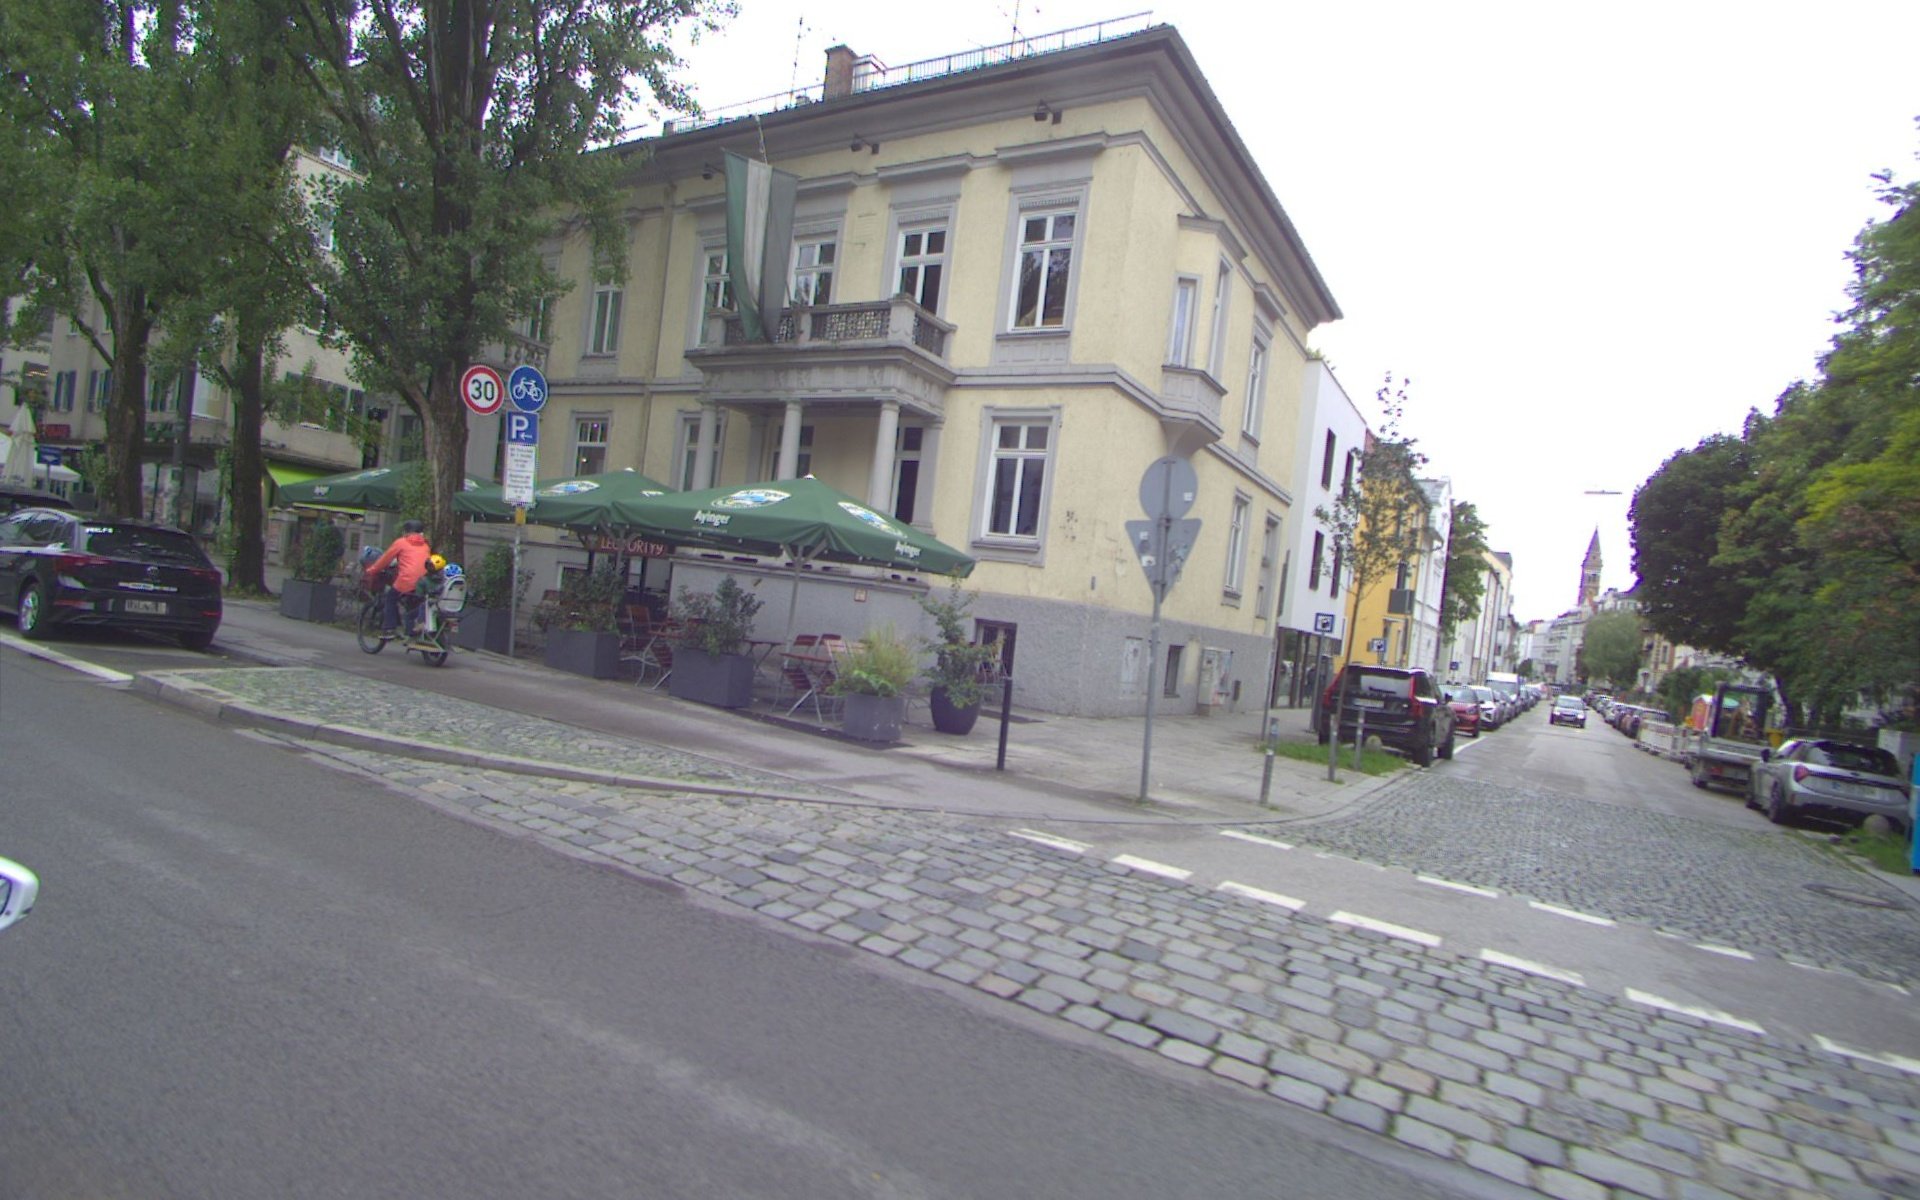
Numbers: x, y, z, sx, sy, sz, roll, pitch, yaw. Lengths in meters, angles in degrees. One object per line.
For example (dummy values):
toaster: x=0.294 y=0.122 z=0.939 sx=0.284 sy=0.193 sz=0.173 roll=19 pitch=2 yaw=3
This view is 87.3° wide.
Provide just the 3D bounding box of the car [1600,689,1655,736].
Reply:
car: x=34.528 y=5.842 z=52.120 sx=1.967 sy=2.036 sz=3.996 roll=6 pitch=-2 yaw=31

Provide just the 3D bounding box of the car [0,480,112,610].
car: x=-14.746 y=-0.983 z=14.930 sx=4.372 sy=1.656 sz=1.807 roll=7 pitch=-1 yaw=30

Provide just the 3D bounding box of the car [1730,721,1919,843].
car: x=14.497 y=2.933 z=16.834 sx=1.874 sy=1.537 sz=3.997 roll=6 pitch=-3 yaw=30

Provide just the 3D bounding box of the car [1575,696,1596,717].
car: x=86.831 y=14.759 z=139.613 sx=1.966 sy=2.634 sz=3.998 roll=7 pitch=-2 yaw=29

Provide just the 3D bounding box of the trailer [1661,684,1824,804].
trailer: x=16.966 y=3.044 z=22.105 sx=1.874 sy=2.052 sz=5.250 roll=7 pitch=-1 yaw=30

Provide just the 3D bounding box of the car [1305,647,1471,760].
car: x=8.409 y=2.034 z=19.515 sx=1.940 sy=1.721 sz=4.421 roll=6 pitch=-3 yaw=35

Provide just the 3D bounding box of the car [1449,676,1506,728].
car: x=19.961 y=3.918 z=38.782 sx=1.672 sy=1.706 sz=3.997 roll=7 pitch=-2 yaw=28

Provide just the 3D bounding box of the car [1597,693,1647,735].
car: x=37.369 y=6.435 z=56.889 sx=1.967 sy=2.036 sz=3.996 roll=6 pitch=-2 yaw=31

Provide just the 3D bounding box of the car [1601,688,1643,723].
car: x=44.989 y=7.224 z=68.430 sx=1.967 sy=2.036 sz=3.996 roll=6 pitch=-2 yaw=31

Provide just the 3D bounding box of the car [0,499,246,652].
car: x=-10.624 y=-0.365 z=12.138 sx=3.884 sy=1.433 sz=1.697 roll=7 pitch=-1 yaw=30

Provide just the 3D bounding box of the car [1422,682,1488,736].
car: x=16.082 y=3.497 z=32.564 sx=1.672 sy=1.416 sz=3.997 roll=7 pitch=-2 yaw=28

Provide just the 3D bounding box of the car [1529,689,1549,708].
car: x=70.294 y=11.953 z=122.156 sx=1.672 sy=2.077 sz=3.997 roll=7 pitch=-2 yaw=28

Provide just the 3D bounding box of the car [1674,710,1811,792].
car: x=20.494 y=3.888 z=26.537 sx=1.965 sy=1.703 sz=3.999 roll=7 pitch=-2 yaw=27

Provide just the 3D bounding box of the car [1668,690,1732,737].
car: x=37.299 y=5.744 z=50.800 sx=1.967 sy=2.036 sz=3.996 roll=6 pitch=-2 yaw=31

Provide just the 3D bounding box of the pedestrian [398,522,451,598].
pedestrian: x=-13.639 y=-1.019 z=25.631 sx=0.871 sy=1.818 sz=0.765 roll=7 pitch=0 yaw=-41

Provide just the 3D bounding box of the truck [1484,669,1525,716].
truck: x=33.024 y=5.610 z=61.061 sx=1.845 sy=2.499 sz=3.997 roll=7 pitch=-2 yaw=28

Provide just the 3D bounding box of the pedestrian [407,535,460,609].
pedestrian: x=-13.025 y=-0.694 z=24.884 sx=0.870 sy=1.698 sz=0.791 roll=7 pitch=0 yaw=-40

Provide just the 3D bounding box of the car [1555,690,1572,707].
car: x=88.941 y=14.512 z=148.262 sx=1.967 sy=2.036 sz=3.996 roll=6 pitch=-2 yaw=31

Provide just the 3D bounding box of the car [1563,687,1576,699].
car: x=121.674 y=18.511 z=200.717 sx=1.967 sy=2.036 sz=3.996 roll=6 pitch=-2 yaw=31

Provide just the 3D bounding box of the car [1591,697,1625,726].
car: x=52.723 y=9.077 z=81.891 sx=1.967 sy=2.036 sz=3.996 roll=6 pitch=-2 yaw=31

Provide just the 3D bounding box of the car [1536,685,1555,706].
car: x=73.994 y=12.088 z=127.143 sx=1.672 sy=2.445 sz=3.997 roll=7 pitch=-2 yaw=28

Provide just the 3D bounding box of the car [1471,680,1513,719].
car: x=27.395 y=5.123 z=51.808 sx=1.672 sy=1.706 sz=3.997 roll=7 pitch=-2 yaw=28

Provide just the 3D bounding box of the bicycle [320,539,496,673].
bicycle: x=-6.877 y=0.038 z=12.474 sx=2.408 sy=1.368 sz=0.772 roll=7 pitch=4 yaw=31

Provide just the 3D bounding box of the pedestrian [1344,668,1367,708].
pedestrian: x=15.078 y=3.357 z=38.322 sx=0.590 sy=1.426 sz=0.800 roll=7 pitch=-1 yaw=28

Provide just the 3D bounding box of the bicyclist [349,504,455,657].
bicyclist: x=-6.948 y=-0.247 z=12.531 sx=0.870 sy=1.791 sz=0.767 roll=7 pitch=5 yaw=31

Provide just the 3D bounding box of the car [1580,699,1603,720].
car: x=72.730 y=12.622 z=115.879 sx=1.967 sy=2.036 sz=3.996 roll=6 pitch=-2 yaw=31

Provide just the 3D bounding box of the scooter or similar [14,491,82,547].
scooter or similar: x=-27.120 y=-2.412 z=29.891 sx=2.451 sy=1.394 sz=0.637 roll=8 pitch=2 yaw=28

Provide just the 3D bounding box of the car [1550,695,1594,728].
car: x=33.331 y=6.039 z=54.830 sx=1.672 sy=1.485 sz=3.997 roll=7 pitch=-2 yaw=28

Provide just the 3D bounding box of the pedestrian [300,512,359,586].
pedestrian: x=-15.830 y=-1.282 z=25.267 sx=0.862 sy=1.698 sz=0.798 roll=7 pitch=0 yaw=31

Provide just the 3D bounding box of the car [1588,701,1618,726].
car: x=59.929 y=10.575 z=93.824 sx=1.967 sy=2.036 sz=3.996 roll=6 pitch=-2 yaw=31

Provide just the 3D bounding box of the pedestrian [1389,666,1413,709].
pedestrian: x=19.850 y=3.932 z=45.264 sx=0.752 sy=1.814 sz=0.873 roll=7 pitch=0 yaw=26
